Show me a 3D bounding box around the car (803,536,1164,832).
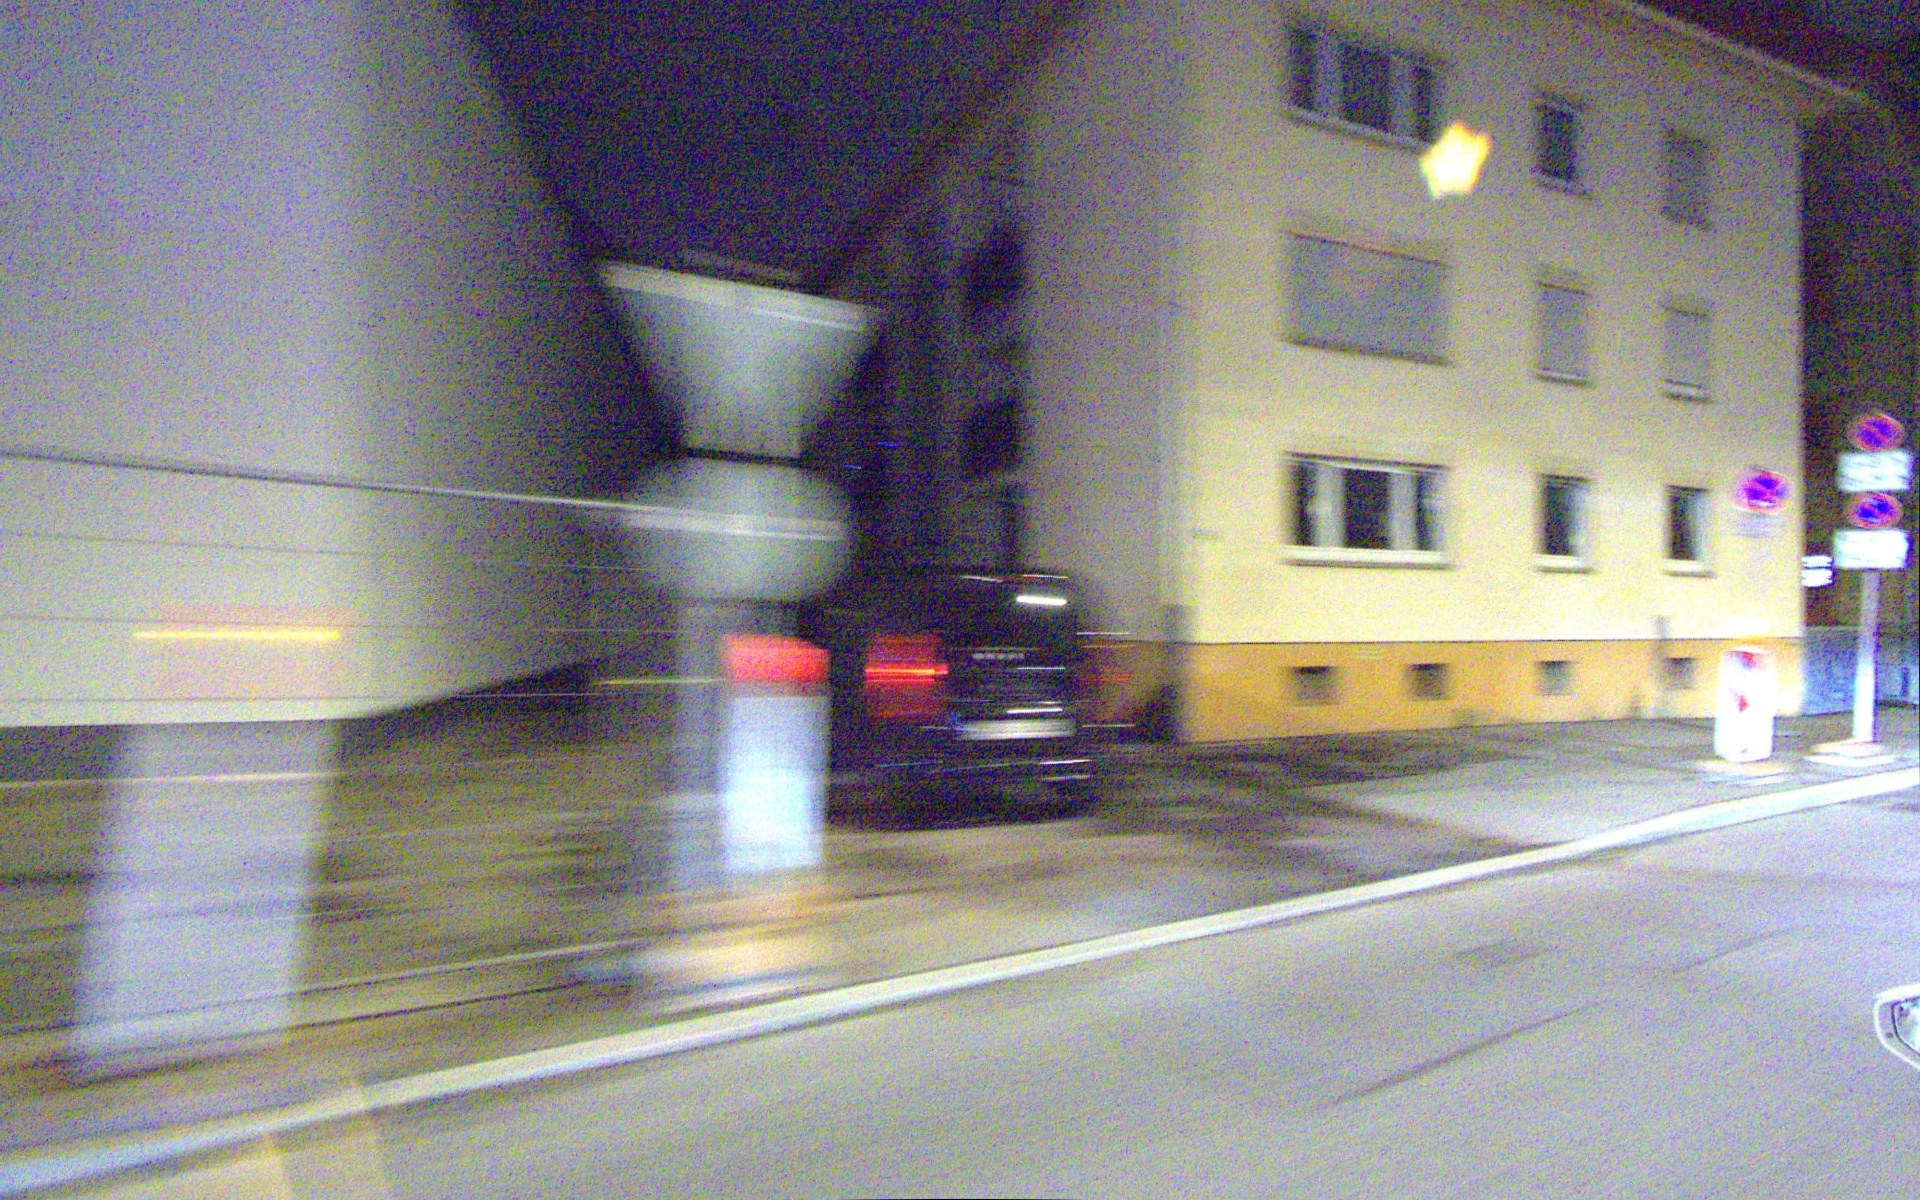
[{"bbox_3d":[-0.077,0.602,8.712,1.879,1.914,3.984,2,-1,-18],"label":"car"}]
